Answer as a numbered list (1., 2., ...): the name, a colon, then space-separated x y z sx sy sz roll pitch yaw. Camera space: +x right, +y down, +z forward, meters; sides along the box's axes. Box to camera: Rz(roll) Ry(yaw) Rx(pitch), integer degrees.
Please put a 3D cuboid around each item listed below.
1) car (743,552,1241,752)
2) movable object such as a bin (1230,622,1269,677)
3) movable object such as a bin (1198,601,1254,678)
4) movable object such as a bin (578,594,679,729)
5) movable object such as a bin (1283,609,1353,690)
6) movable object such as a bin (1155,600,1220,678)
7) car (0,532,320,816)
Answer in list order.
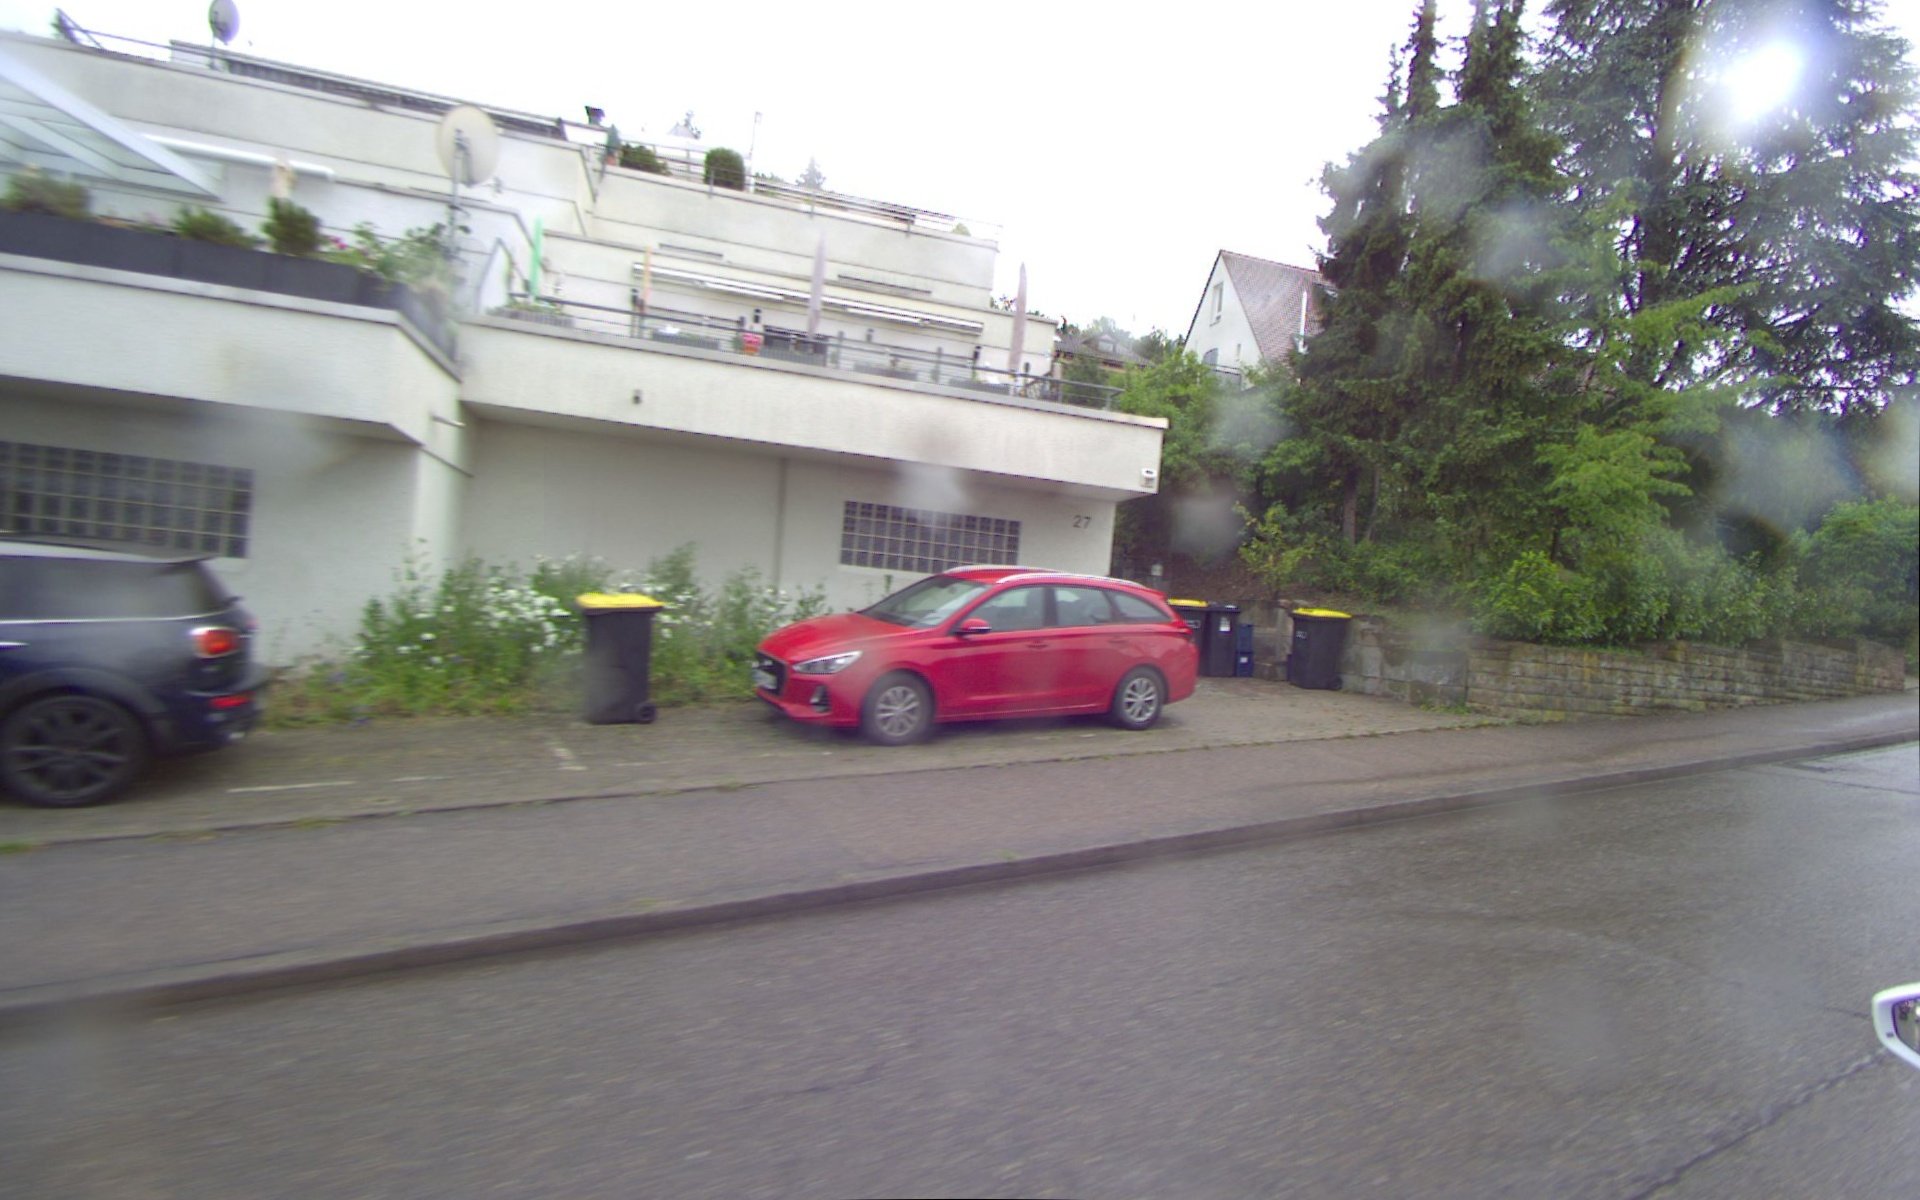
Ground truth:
1. car: 0.398 0.422 9.750 4.535 1.456 1.765 1 5 -31
2. movable object such as a bin: 4.282 0.729 14.875 0.362 0.778 0.388 2 2 -19
3. movable object such as a bin: 3.870 0.571 14.633 0.513 1.070 0.577 2 2 -19
4. movable object such as a bin: -2.879 0.512 8.697 0.741 1.098 0.638 1 1 -25
5. movable object such as a bin: 4.958 0.675 13.928 0.672 1.070 0.577 2 2 -19
6. movable object such as a bin: 3.257 0.553 14.390 0.672 1.070 0.577 2 2 -19
7. car: -6.048 0.339 5.507 4.190 1.415 1.624 1 4 -31
